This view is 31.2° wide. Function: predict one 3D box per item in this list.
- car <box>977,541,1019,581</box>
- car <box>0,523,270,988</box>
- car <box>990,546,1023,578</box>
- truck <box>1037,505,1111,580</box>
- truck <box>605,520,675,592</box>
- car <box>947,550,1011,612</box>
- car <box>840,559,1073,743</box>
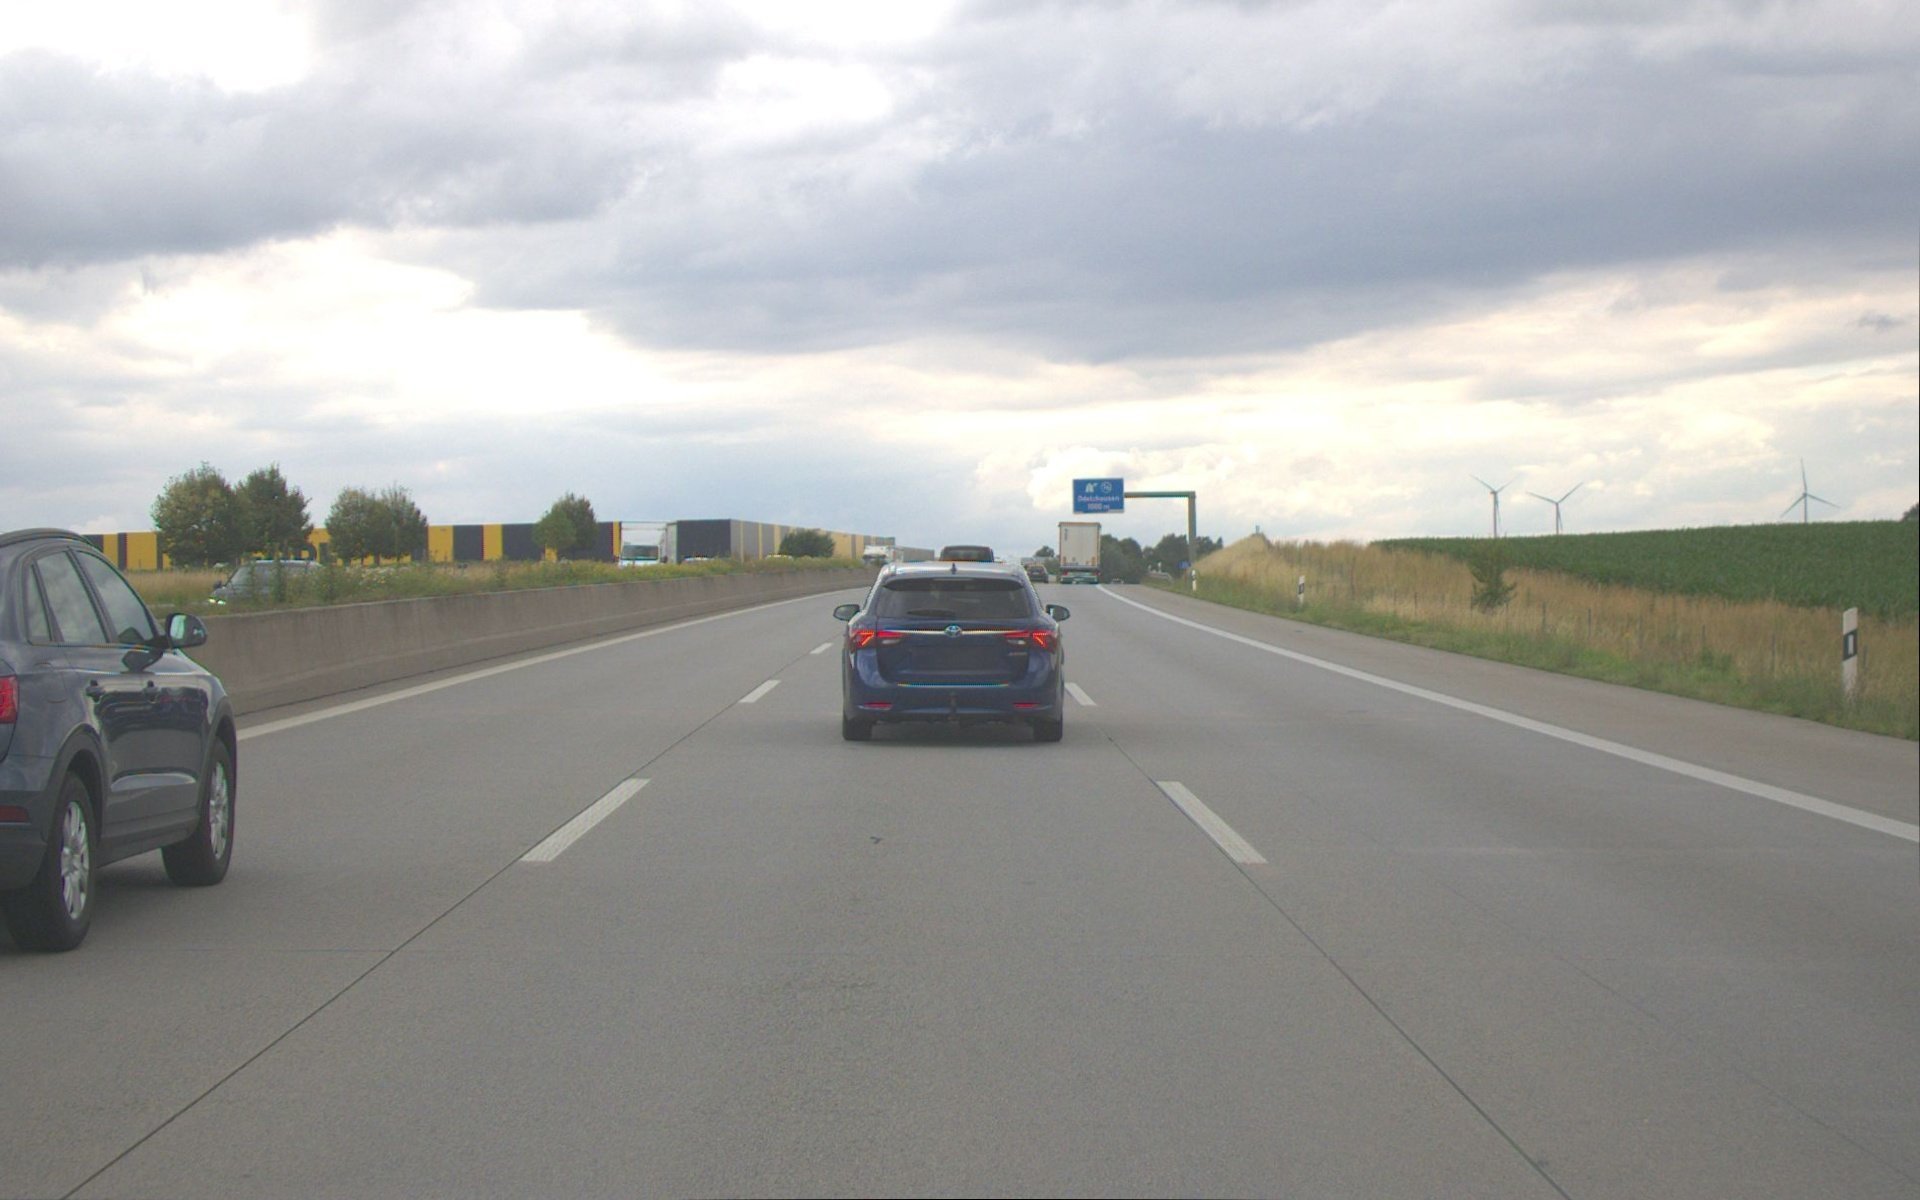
[{"bbox_3d":[1.970,-2.040,178.536,1.993,2.007,4.000,2,1,-1],"label":"car"},{"bbox_3d":[-4.129,0.480,14.295,1.792,1.590,5.158,1,1,-4],"label":"car"},{"bbox_3d":[3.070,-2.503,227.485,1.993,2.007,4.000,1,0,-2],"label":"car"},{"bbox_3d":[7.527,-3.761,228.857,3.950,4.740,12.077,1,0,-2],"label":"truck"},{"bbox_3d":[-15.232,-2.064,164.075,2.357,3.316,7.296,1,0,2],"label":"truck"},{"bbox_3d":[0.619,-0.620,114.517,1.993,2.007,4.000,1,0,-1],"label":"car"},{"bbox_3d":[-0.100,0.380,28.599,1.774,1.408,4.000,0,0,-2],"label":"car"}]
